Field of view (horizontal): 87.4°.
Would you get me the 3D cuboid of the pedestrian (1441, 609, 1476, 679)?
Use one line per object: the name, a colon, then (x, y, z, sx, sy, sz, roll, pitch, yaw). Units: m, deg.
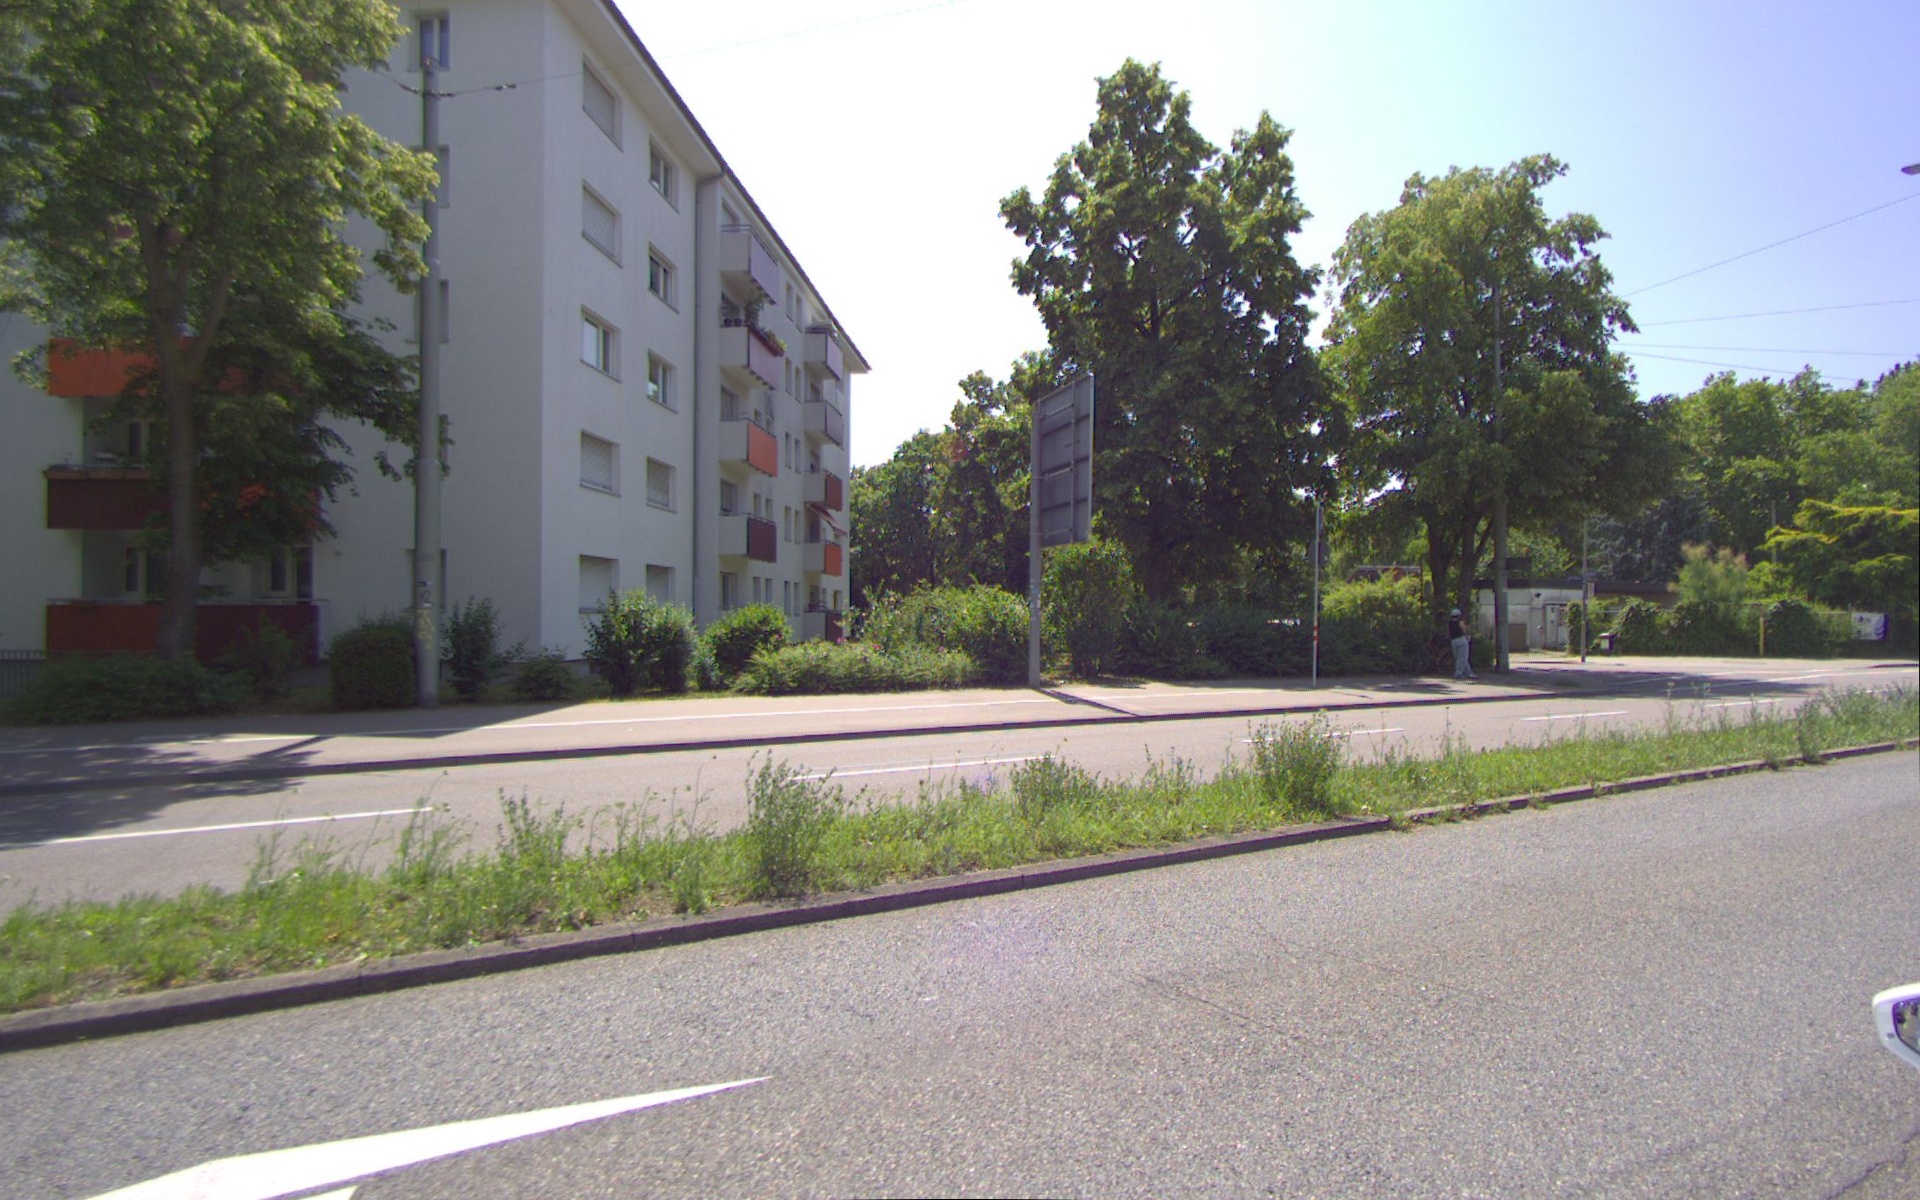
pedestrian: (12.678, 1.107, 25.551, 0.593, 1.741, 0.549, 0, -1, -15)

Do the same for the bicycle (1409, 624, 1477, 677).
bicycle: (12.572, 1.300, 26.147, 1.547, 1.345, 0.646, 0, -1, -16)
